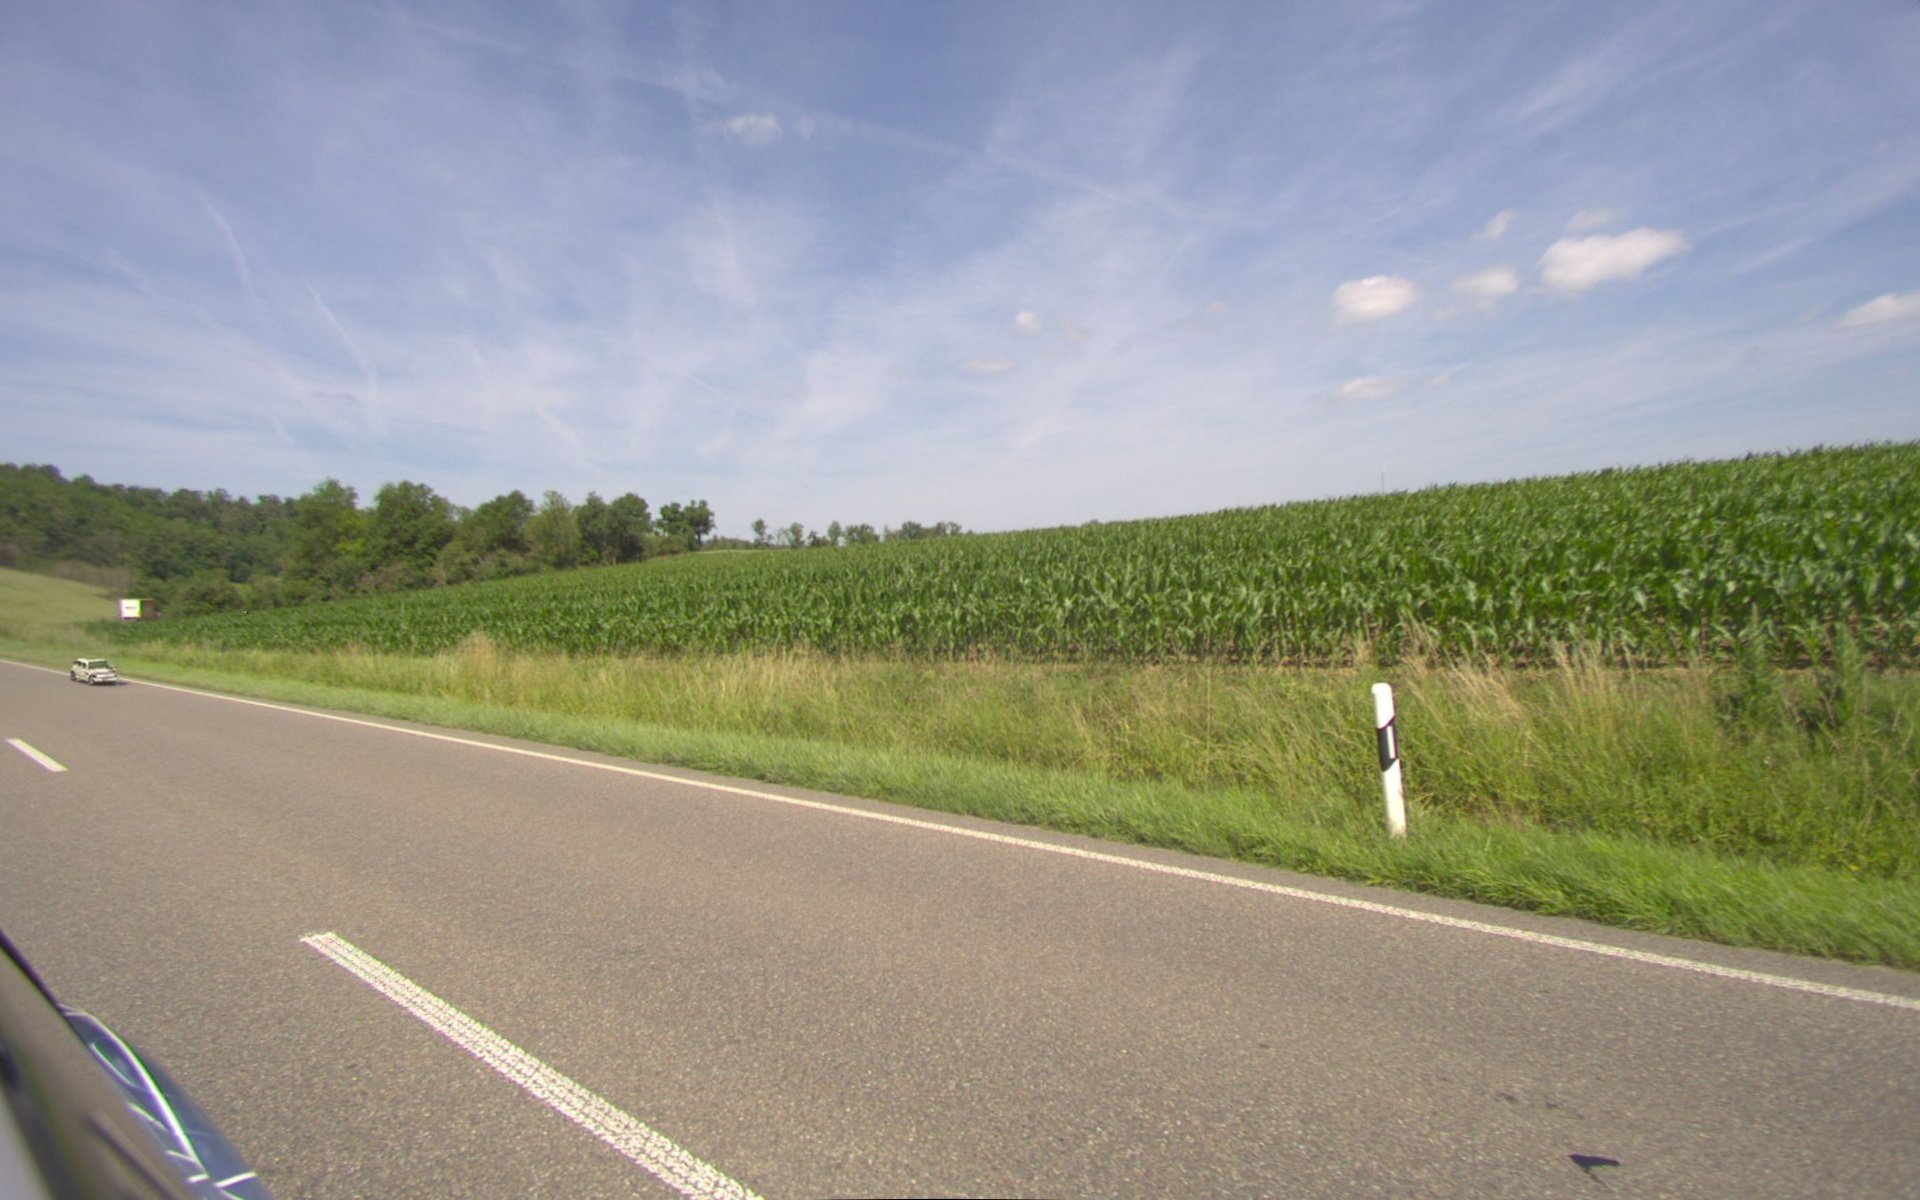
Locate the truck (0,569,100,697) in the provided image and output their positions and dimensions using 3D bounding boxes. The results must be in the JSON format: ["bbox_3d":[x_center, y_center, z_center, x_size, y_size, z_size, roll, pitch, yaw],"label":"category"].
[{"bbox_3d":[-22.241,0.746,23.804,6.414,2.692,2.184,-1,-1,41],"label":"truck"}]

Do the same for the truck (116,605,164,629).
[{"bbox_3d":[-145.611,3.057,179.991,2.732,4.029,17.083,-1,0,-26],"label":"truck"}]

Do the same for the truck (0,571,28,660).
[{"bbox_3d":[-49.796,0.842,51.320,16.537,4.023,2.795,-2,-2,44],"label":"truck"}]
